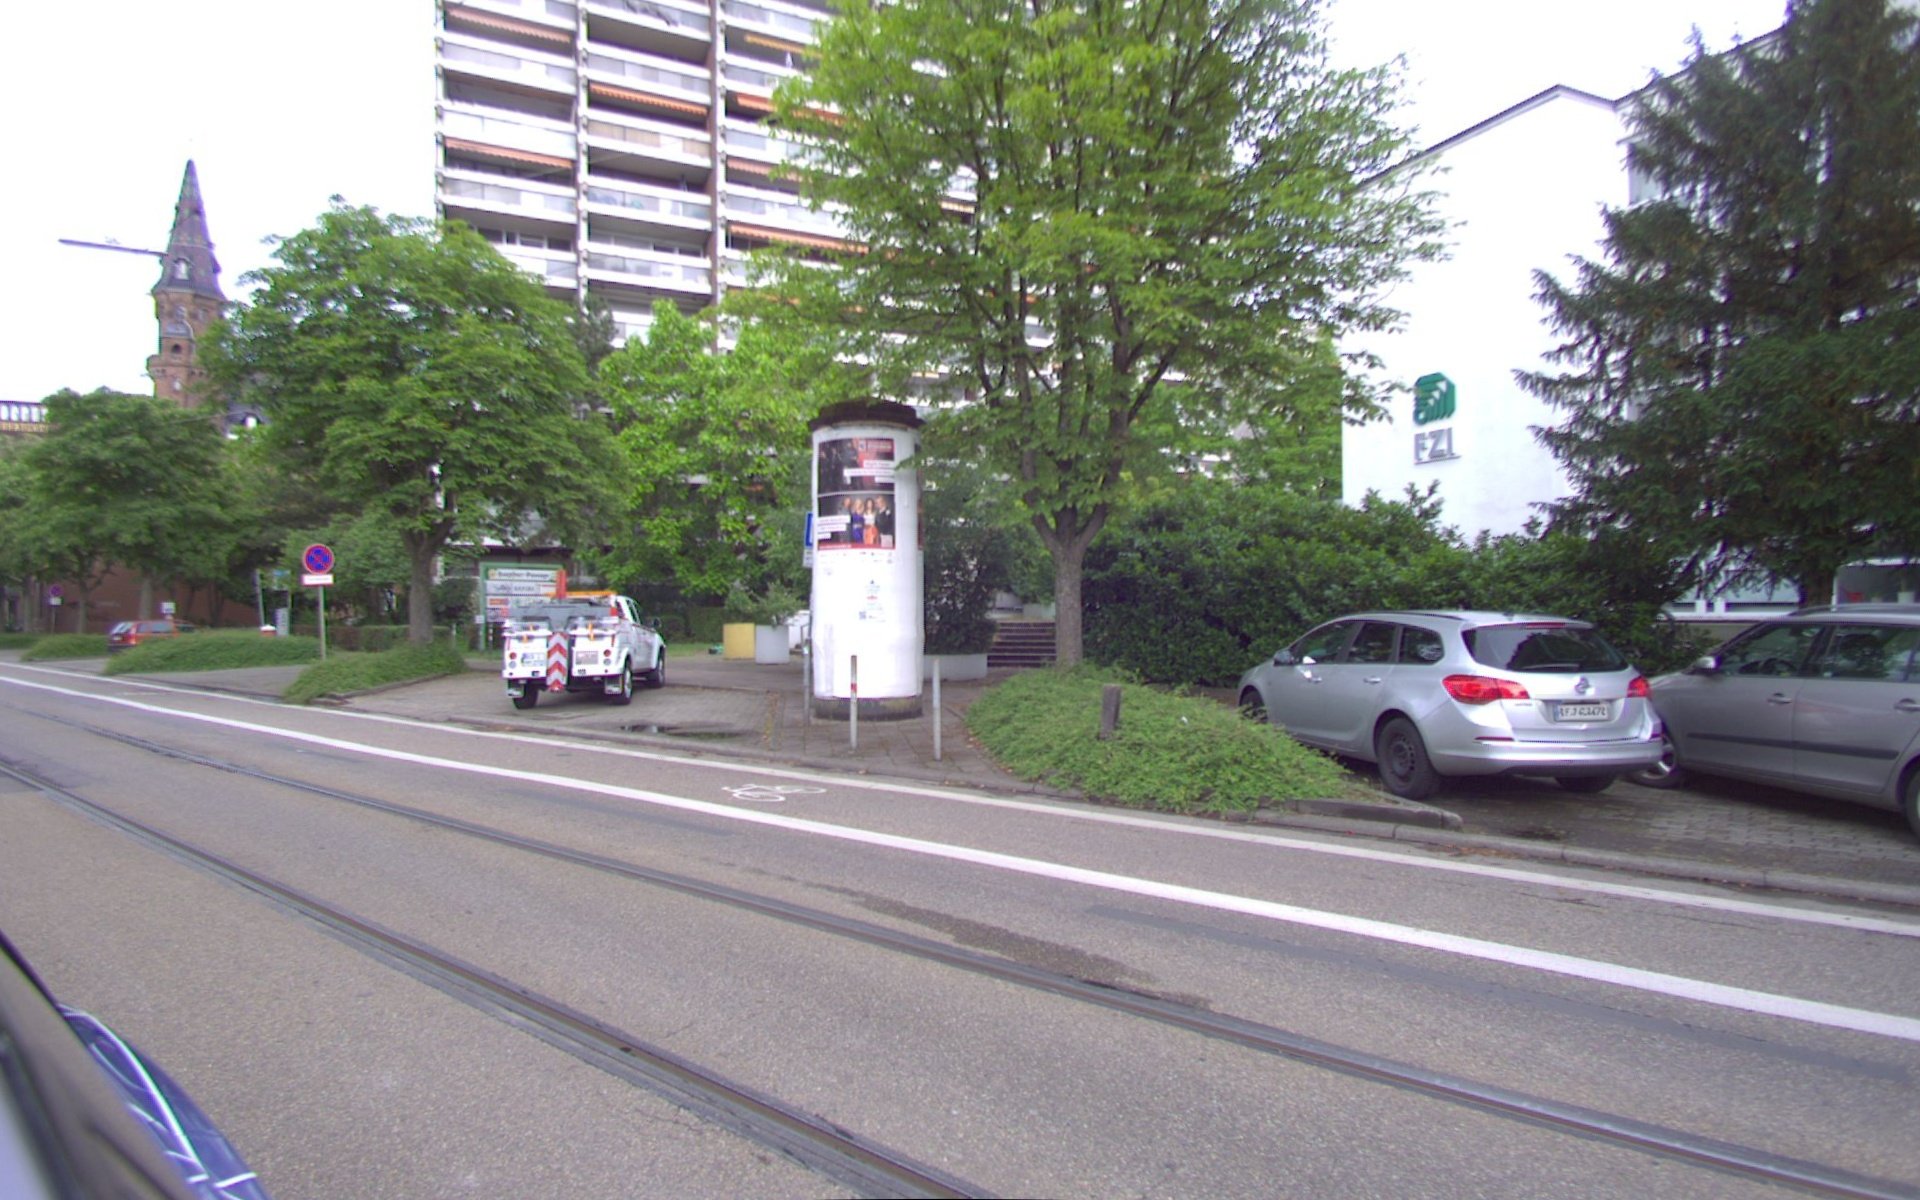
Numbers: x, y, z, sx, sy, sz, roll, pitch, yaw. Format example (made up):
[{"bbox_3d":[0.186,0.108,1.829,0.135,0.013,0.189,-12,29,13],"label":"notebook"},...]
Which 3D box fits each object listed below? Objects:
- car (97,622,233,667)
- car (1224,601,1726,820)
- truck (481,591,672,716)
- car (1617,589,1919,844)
[{"bbox_3d":[-28.119,1.538,35.911,1.625,1.387,3.474,0,0,24],"label":"car"},{"bbox_3d":[4.176,0.760,9.217,1.775,1.476,4.441,0,0,-9],"label":"car"},{"bbox_3d":[-6.575,0.834,18.001,1.969,1.862,5.071,-1,0,-6],"label":"truck"},{"bbox_3d":[6.549,0.702,6.825,1.548,1.535,3.656,-1,0,-6],"label":"car"}]
